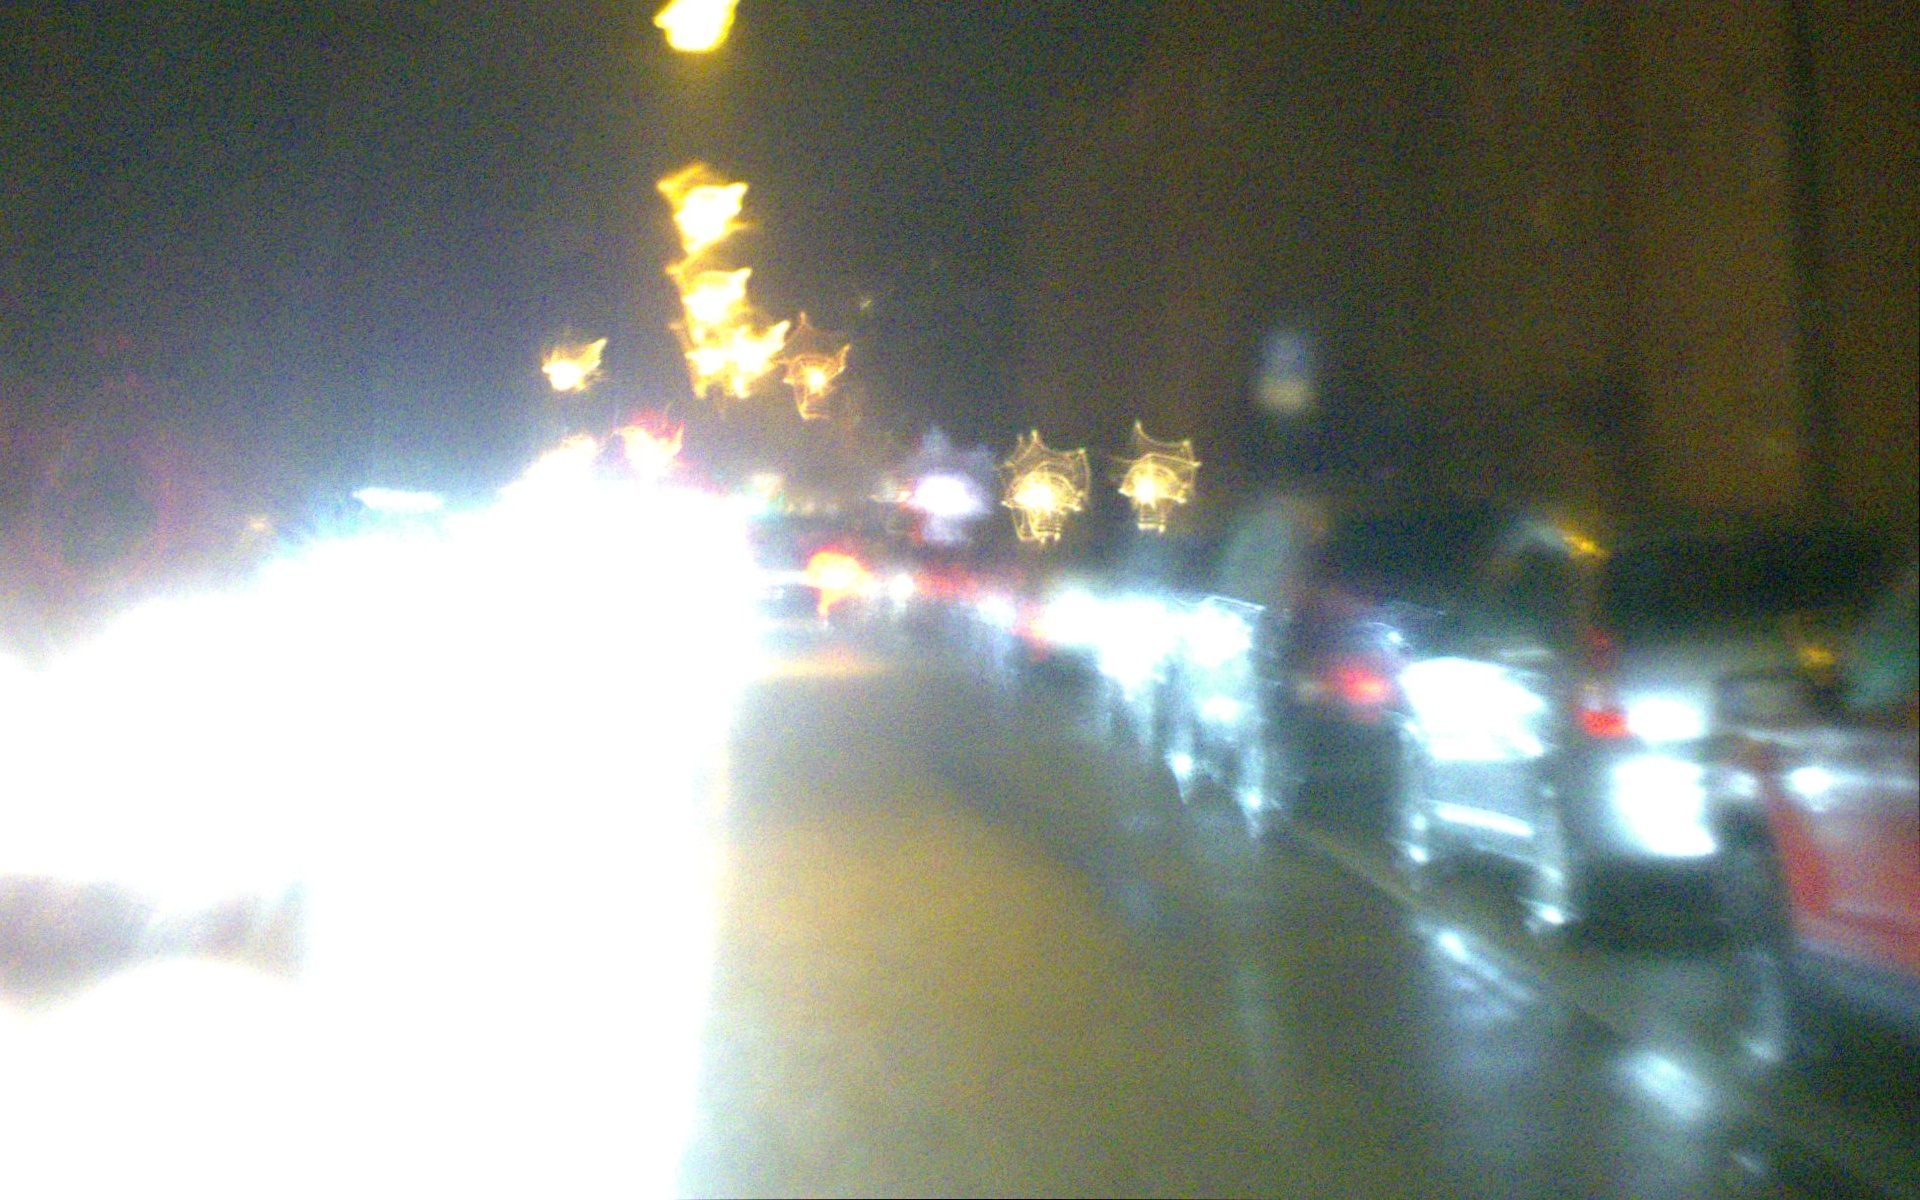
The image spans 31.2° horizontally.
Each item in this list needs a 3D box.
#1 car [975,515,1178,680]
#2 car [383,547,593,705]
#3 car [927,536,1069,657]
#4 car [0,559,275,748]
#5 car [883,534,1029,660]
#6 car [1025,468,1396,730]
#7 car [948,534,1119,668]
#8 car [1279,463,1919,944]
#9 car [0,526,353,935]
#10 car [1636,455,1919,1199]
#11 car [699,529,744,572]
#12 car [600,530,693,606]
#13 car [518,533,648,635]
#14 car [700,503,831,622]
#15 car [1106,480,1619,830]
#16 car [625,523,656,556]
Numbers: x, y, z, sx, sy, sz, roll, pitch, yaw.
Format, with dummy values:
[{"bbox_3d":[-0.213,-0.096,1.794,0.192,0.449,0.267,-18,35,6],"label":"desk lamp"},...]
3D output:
[{"bbox_3d":[1.131,-0.081,35.172,1.628,1.461,4.511,-4,2,-3],"label":"car"},{"bbox_3d":[-4.706,0.219,34.774,1.675,1.430,4.513,-2,1,-3],"label":"car"},{"bbox_3d":[0.460,-0.081,45.194,1.495,1.383,3.748,-4,2,-4],"label":"car"},{"bbox_3d":[-7.377,0.443,30.867,1.577,1.452,4.644,-5,0,-2],"label":"car"},{"bbox_3d":[-0.106,-0.082,51.340,1.820,1.668,4.001,-4,2,-4],"label":"car"},{"bbox_3d":[1.682,-0.077,24.705,1.880,1.567,4.589,-5,2,-4],"label":"car"},{"bbox_3d":[0.831,-0.026,40.787,1.603,1.383,3.793,-5,1,-4],"label":"car"},{"bbox_3d":[2.528,0.294,13.881,1.754,1.523,4.154,-4,2,-3],"label":"car"},{"bbox_3d":[-3.482,0.456,14.113,1.547,1.494,2.793,0,1,-2],"label":"car"},{"bbox_3d":[3.026,0.490,7.917,1.713,1.702,4.188,-5,2,-4],"label":"car"},{"bbox_3d":[-10.393,-2.182,150.013,1.812,1.704,3.804,-4,2,-4],"label":"car"},{"bbox_3d":[-6.478,-0.689,71.415,1.820,1.458,4.867,-1,2,-4],"label":"car"},{"bbox_3d":[-5.802,-0.284,53.324,1.857,1.456,4.524,-1,2,-5],"label":"car"},{"bbox_3d":[-3.136,-0.645,55.863,1.993,1.678,4.001,-2,3,-2],"label":"car"},{"bbox_3d":[2.066,0.199,19.041,1.880,1.567,4.529,-5,2,-4],"label":"car"},{"bbox_3d":[-18.143,-3.435,195.070,1.535,1.704,3.804,-4,2,-4],"label":"car"}]
